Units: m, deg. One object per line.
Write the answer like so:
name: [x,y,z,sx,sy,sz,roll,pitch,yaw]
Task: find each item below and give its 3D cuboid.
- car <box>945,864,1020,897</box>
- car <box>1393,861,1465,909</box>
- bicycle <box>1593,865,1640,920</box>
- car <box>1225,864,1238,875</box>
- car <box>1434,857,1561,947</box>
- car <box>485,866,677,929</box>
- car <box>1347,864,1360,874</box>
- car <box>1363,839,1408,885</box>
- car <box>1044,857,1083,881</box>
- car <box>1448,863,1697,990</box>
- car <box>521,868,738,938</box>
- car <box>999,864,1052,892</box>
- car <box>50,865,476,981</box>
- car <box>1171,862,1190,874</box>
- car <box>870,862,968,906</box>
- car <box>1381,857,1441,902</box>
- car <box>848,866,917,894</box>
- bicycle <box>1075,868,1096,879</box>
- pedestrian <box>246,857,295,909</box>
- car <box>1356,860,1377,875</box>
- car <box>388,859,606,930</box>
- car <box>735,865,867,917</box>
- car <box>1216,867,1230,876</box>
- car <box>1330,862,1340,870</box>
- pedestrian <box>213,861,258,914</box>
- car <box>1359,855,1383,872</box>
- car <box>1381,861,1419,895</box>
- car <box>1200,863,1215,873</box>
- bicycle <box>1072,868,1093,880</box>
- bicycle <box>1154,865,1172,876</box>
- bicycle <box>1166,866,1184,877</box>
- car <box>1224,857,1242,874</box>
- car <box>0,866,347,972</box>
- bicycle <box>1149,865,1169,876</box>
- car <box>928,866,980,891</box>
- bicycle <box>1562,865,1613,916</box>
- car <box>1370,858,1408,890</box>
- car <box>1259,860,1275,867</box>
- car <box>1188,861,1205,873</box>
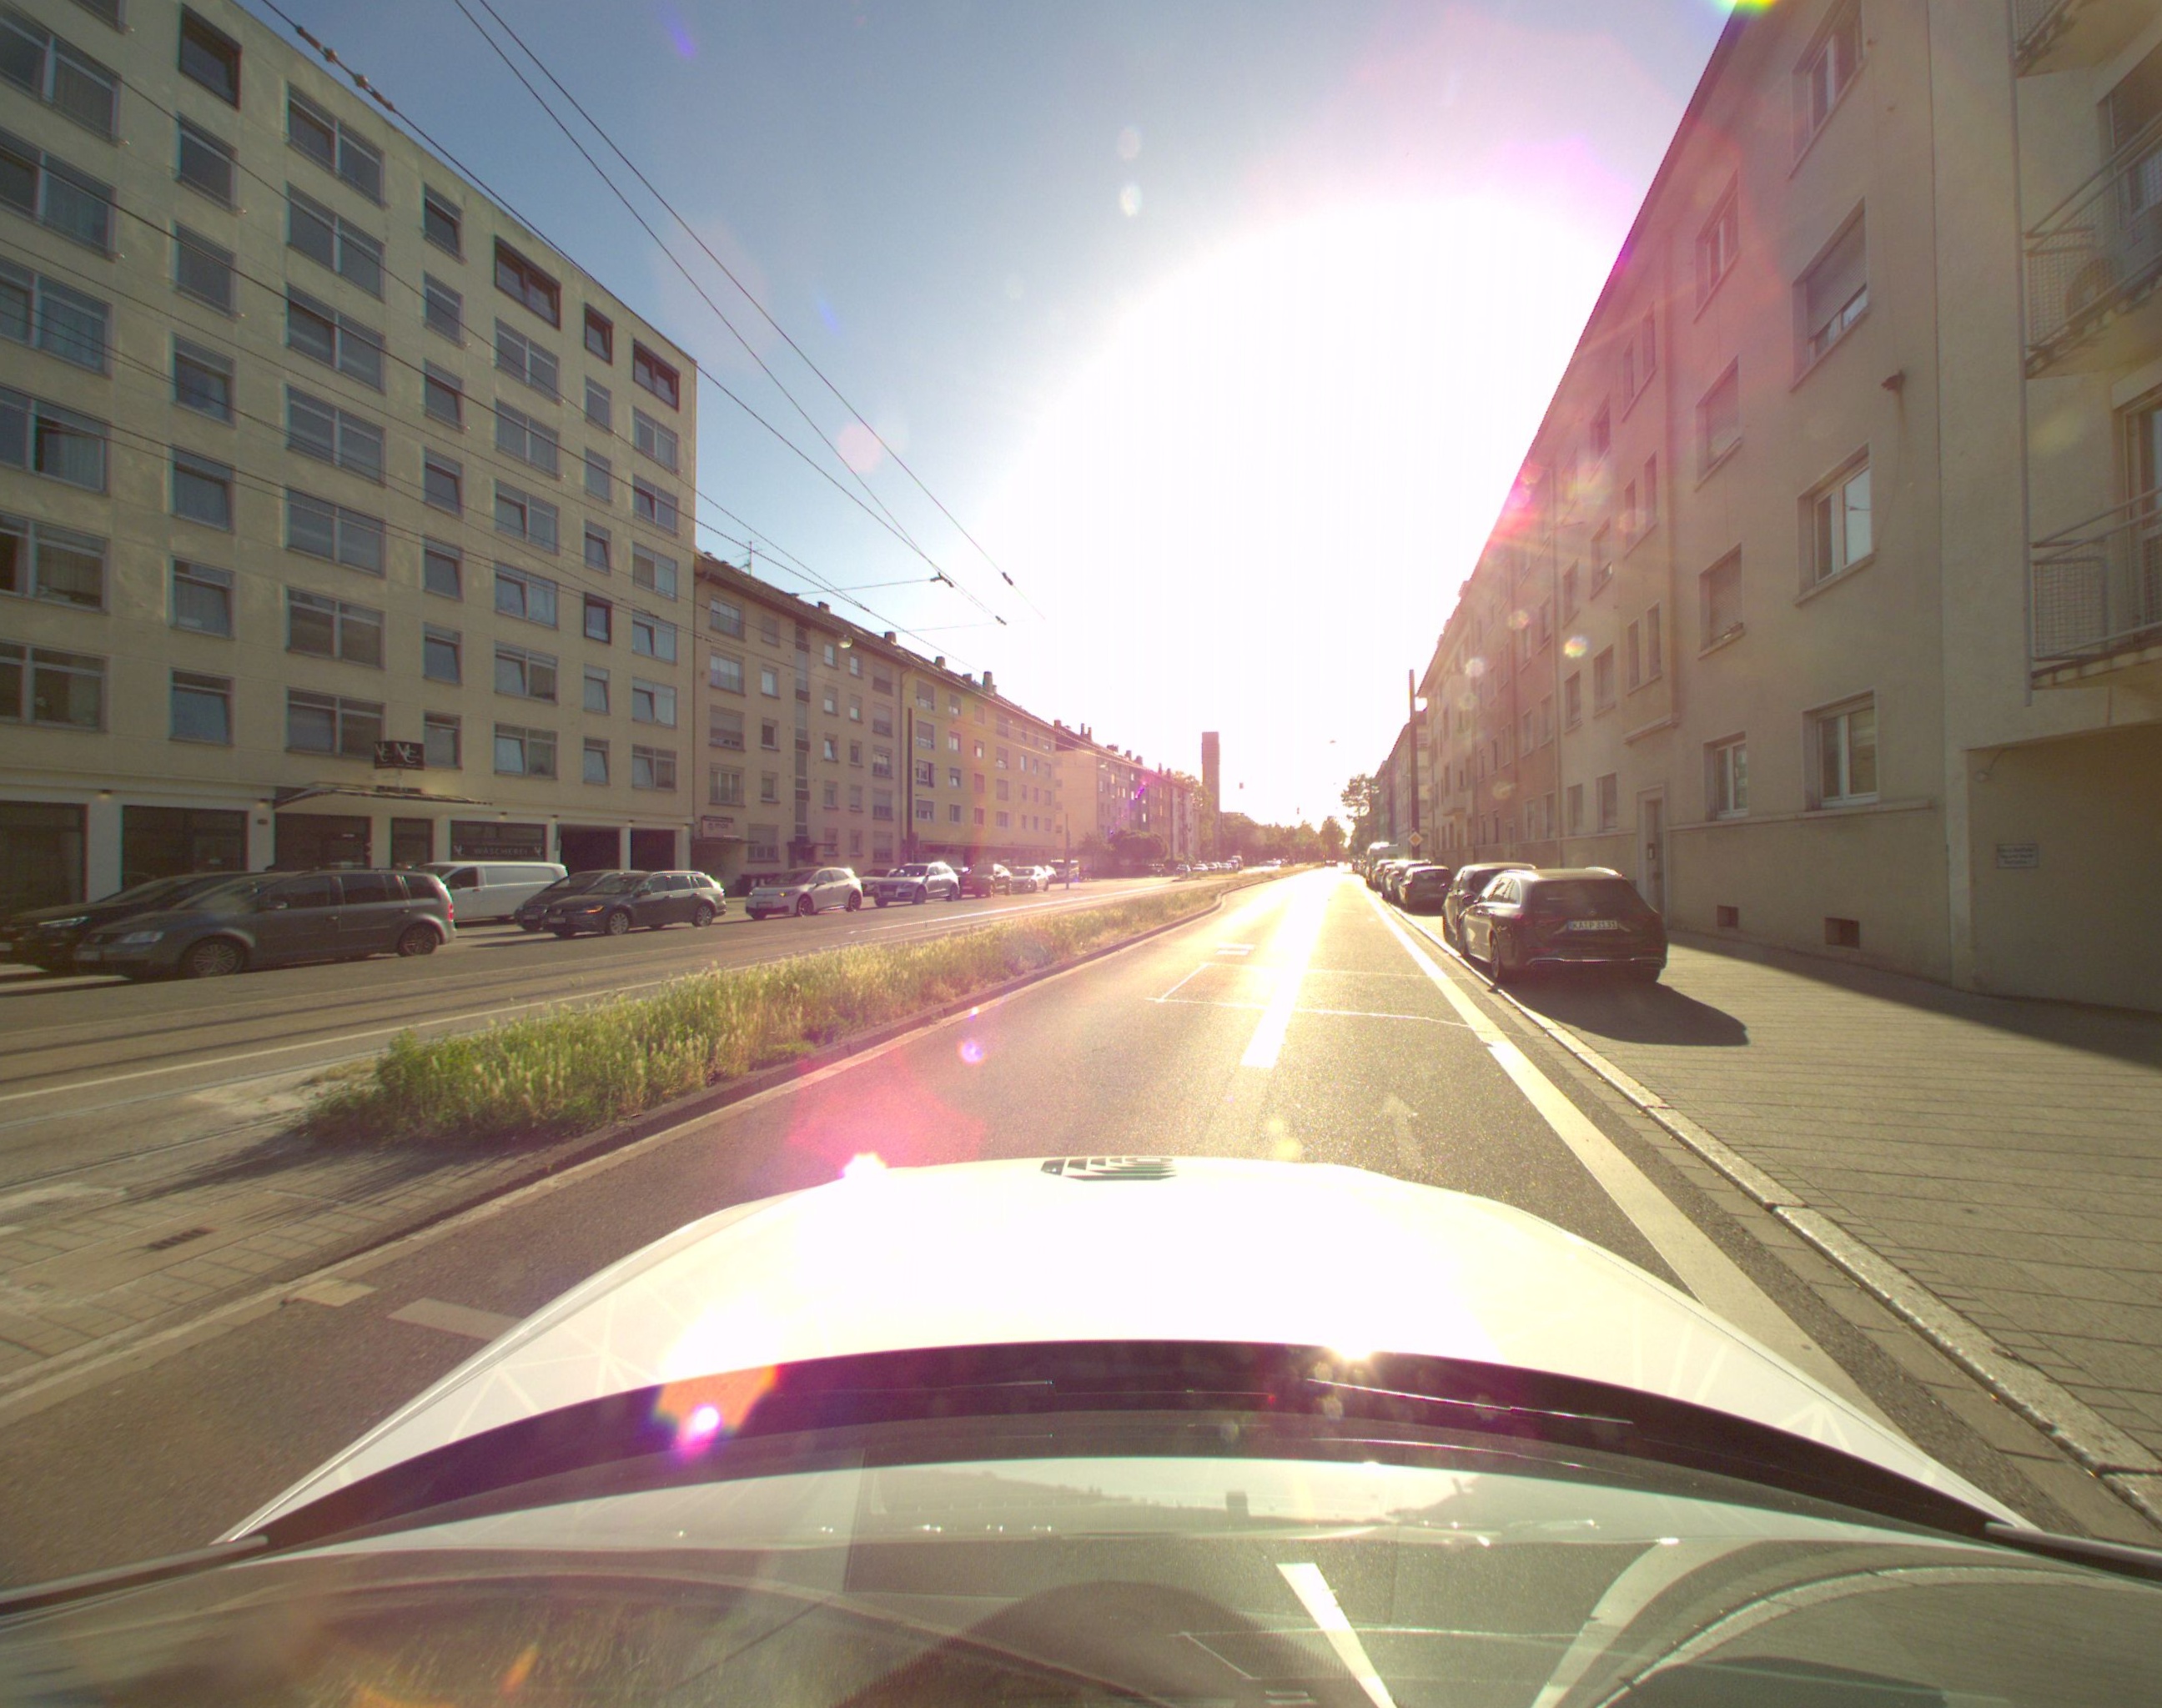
car: [-4.711,1.272,39.665,1.948,1.480,4.588,-1,-2,16]
car: [11.883,1.011,28.025,1.759,1.471,4.112,-3,-1,17]
bicycle: [12.391,0.877,18.884,0.509,1.193,1.564,-1,0,18]
car: [28.771,3.014,155.354,1.978,1.965,4.770,-1,-3,16]
car: [7.866,0.876,15.633,1.540,1.526,3.001,-2,-2,16]
car: [-13.716,1.161,22.684,1.967,1.576,4.341,-1,-2,16]
car: [45.464,2.462,135.739,1.882,1.488,3.755,-1,-3,16]
car: [19.382,0.522,52.041,2.142,2.652,5.667,-3,-1,16]
car: [-1.569,1.400,75.089,1.988,2.106,5.327,-1,-1,16]
car: [6.607,0.872,11.596,1.869,1.398,4.762,-3,-2,17]
car: [-10.809,1.119,19.948,1.803,1.491,4.563,-1,-2,19]
car: [-3.104,1.353,46.231,1.810,1.446,4.299,-1,-2,13]
car: [-12.849,0.983,13.270,1.914,1.548,4.474,-1,-2,19]
car: [13.237,1.914,108.071,1.979,1.453,4.015,-1,-3,15]
car: [-6.395,1.155,32.700,1.850,1.577,4.650,-3,-1,16]
car: [13.231,0.983,32.847,1.649,1.644,4.201,-3,-1,15]
car: [-10.931,1.417,45.120,1.762,1.435,4.074,-1,-1,19]
bicycle: [0.455,1.964,81.134,2.064,1.022,0.804,0,-3,4]
pedestrian: [-21.523,0.771,21.636,0.682,1.376,0.528,0,-3,-4]
car: [30.772,1.452,87.756,1.883,1.488,3.754,-1,-3,15]
car: [-17.801,1.138,25.251,1.927,1.869,5.350,2,0,17]
car: [-8.705,1.130,25.779,1.824,1.515,4.260,-1,-2,16]
car: [25.193,3.117,144.201,1.978,1.554,4.016,-1,-3,16]
car: [59.646,2.909,191.291,1.981,1.783,4.011,-1,-3,11]
pedestrian: [-22.323,0.878,21.515,0.497,1.376,0.602,0,-3,3]
car: [27.625,0.945,77.628,1.883,1.488,3.754,-1,-3,15]
car: [14.628,1.058,37.445,1.490,1.426,3.470,-3,-1,20]
car: [20.257,2.289,130.237,1.978,1.554,4.016,-1,-3,16]
bicycle: [0.144,1.940,79.300,1.963,1.206,0.694,0,-3,-10]
bicycle: [10.084,2.043,99.939,2.113,1.325,0.899,-1,-3,11]
bicycle: [11.793,2.151,102.237,2.120,1.325,0.896,0,-3,0]
car: [30.654,2.366,164.052,2.963,3.238,6.820,-1,-3,16]
car: [-15.892,1.028,14.328,1.775,1.576,4.063,-1,-2,16]
bicycle: [9.402,1.983,98.020,2.292,1.305,0.916,-1,-3,14]
car: [-8.308,1.585,53.655,1.816,1.581,3.819,-1,-1,19]
bicycle: [12.887,0.900,20.757,0.624,1.193,1.891,-3,-1,18]
car: [17.085,1.063,45.254,1.577,1.634,3.935,-3,-1,16]
car: [50.186,2.615,219.780,3.960,1.684,2.006,-1,-3,11]
car: [17.043,1.930,120.390,1.978,1.581,4.016,-1,-3,16]
